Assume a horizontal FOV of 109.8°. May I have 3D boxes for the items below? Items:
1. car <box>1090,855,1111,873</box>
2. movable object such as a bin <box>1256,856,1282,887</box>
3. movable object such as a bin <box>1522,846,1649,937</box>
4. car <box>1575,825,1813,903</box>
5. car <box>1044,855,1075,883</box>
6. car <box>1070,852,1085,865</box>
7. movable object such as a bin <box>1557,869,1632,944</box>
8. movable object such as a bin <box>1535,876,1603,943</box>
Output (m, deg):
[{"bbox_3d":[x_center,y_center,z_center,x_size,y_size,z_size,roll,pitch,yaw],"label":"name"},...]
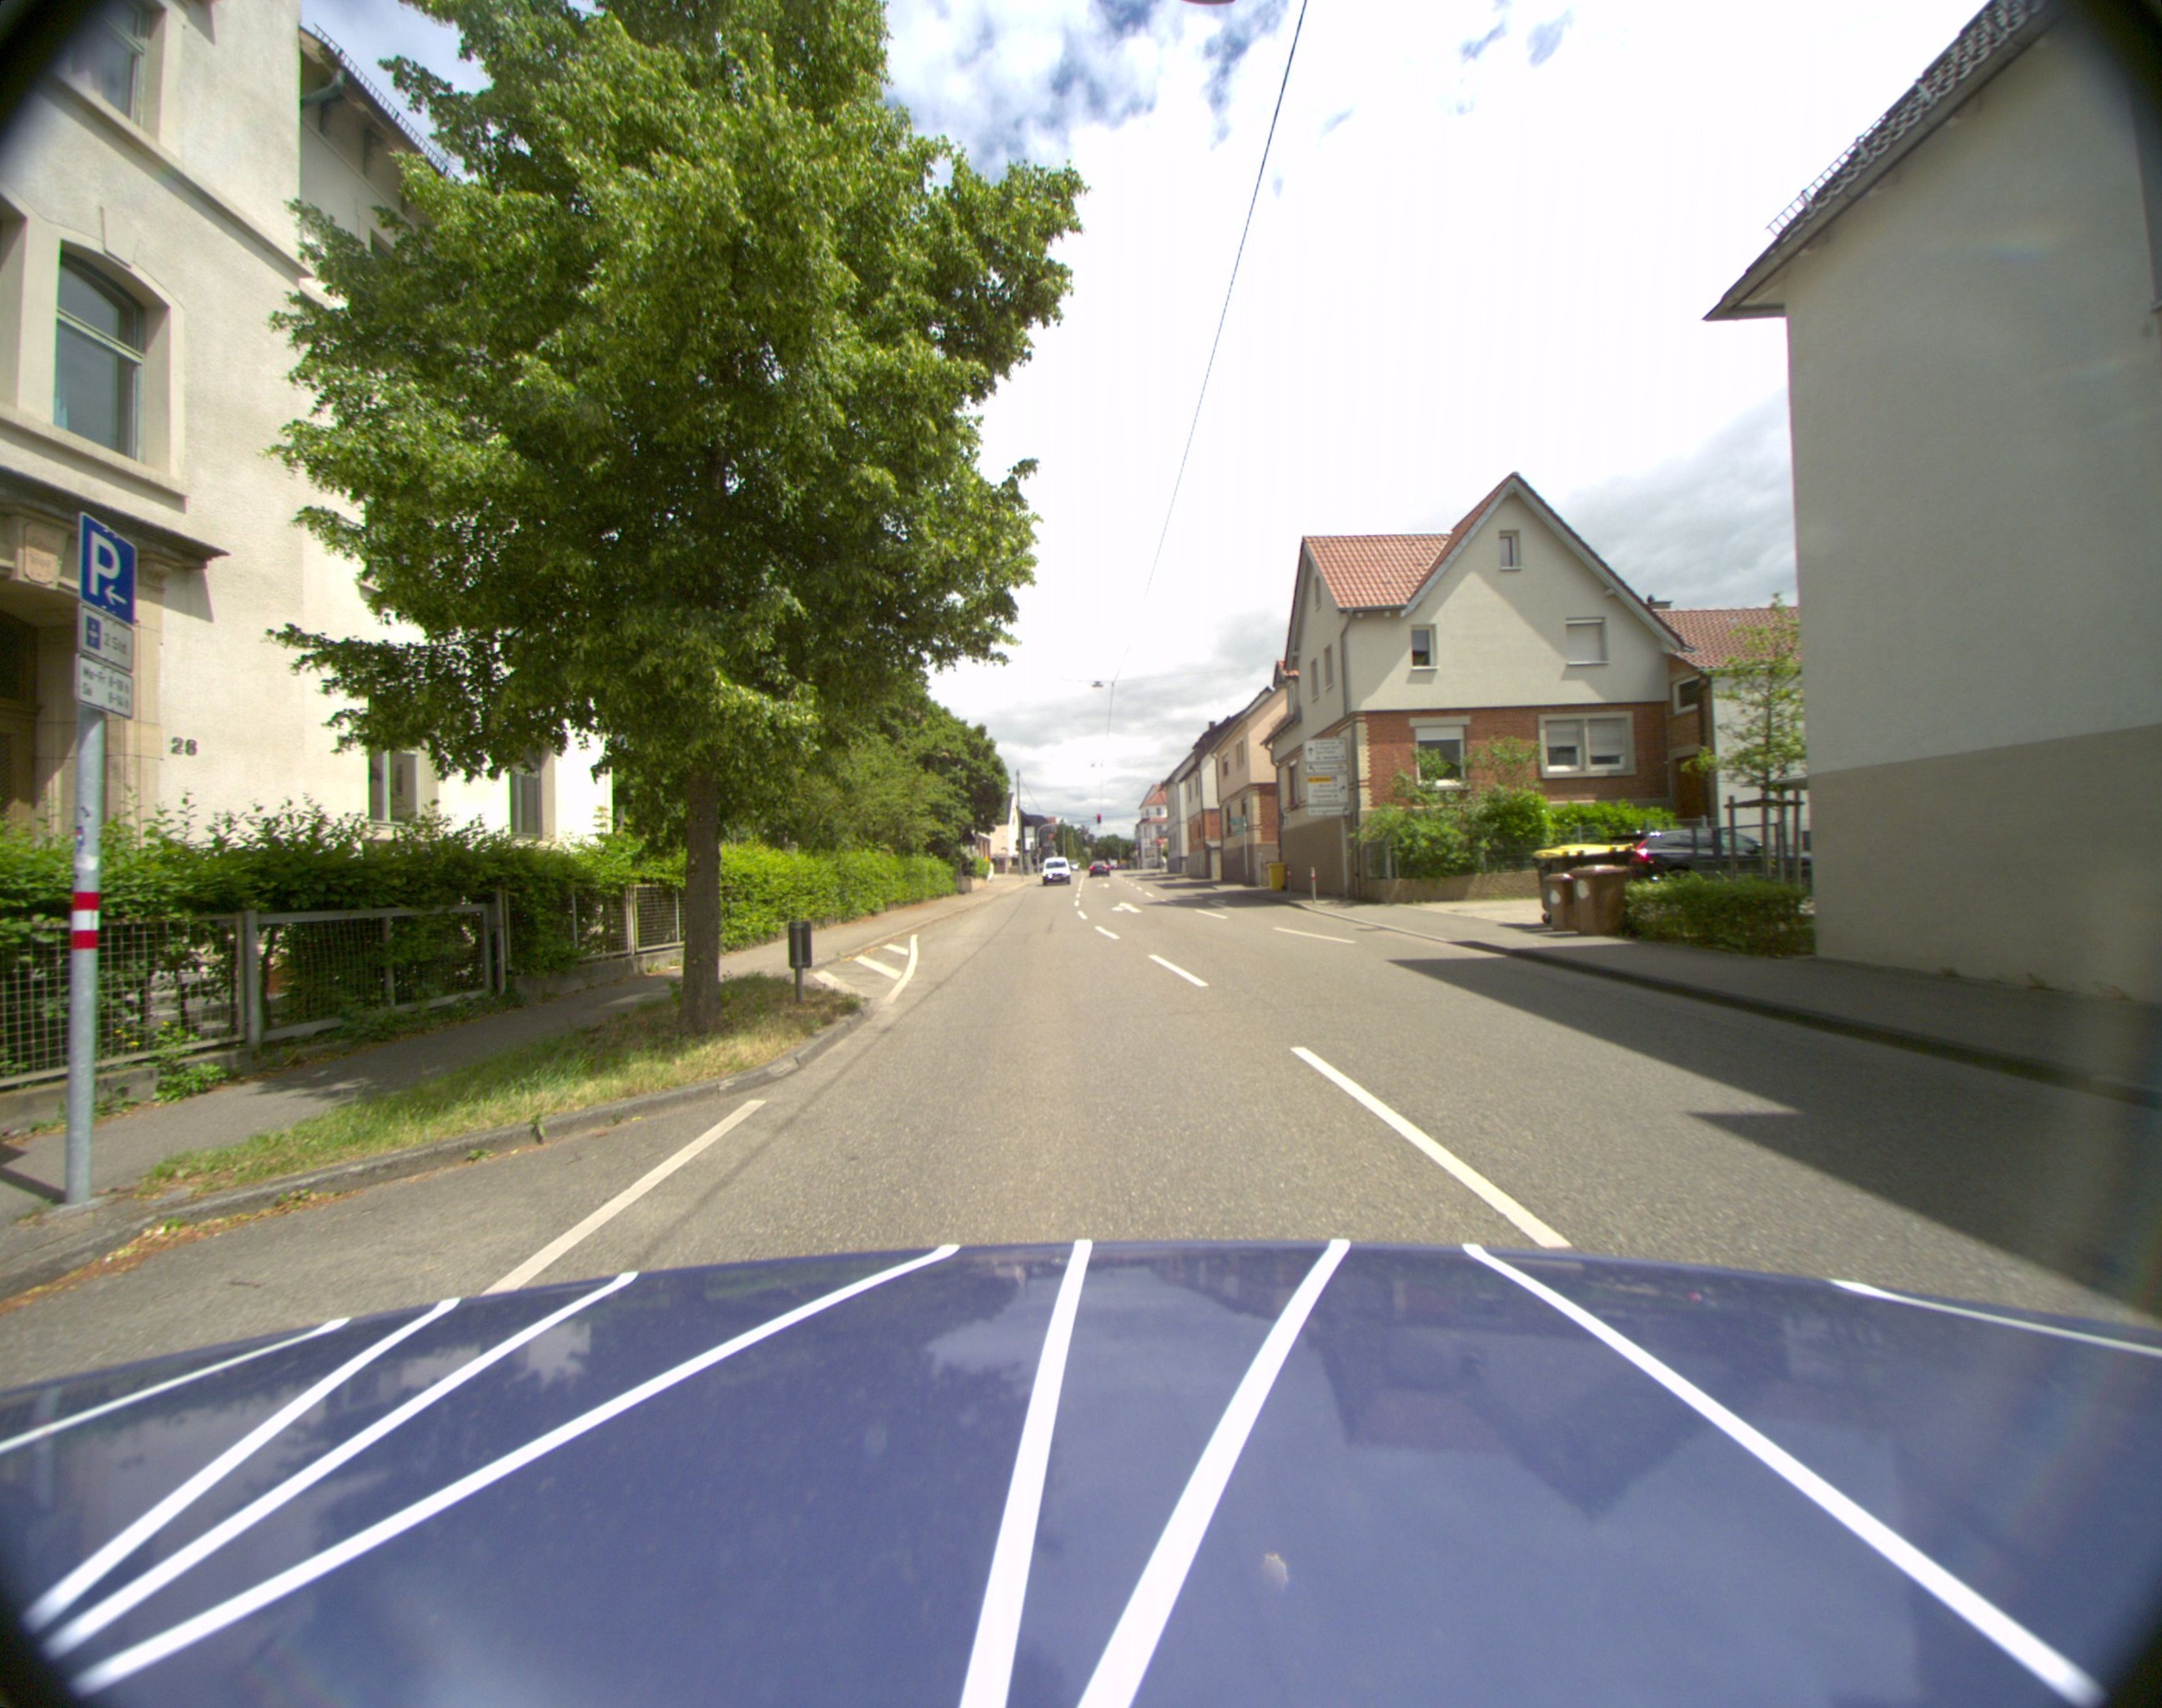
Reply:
[{"bbox_3d":[1.803,0.951,70.143,1.795,1.477,4.001,-3,-1,1],"label":"car"},{"bbox_3d":[7.270,0.677,29.416,0.766,1.155,0.802,-3,0,-3],"label":"movable object such as a bin"},{"bbox_3d":[8.560,0.613,12.968,1.338,1.437,1.170,-2,0,-4],"label":"movable object such as a bin"},{"bbox_3d":[14.316,0.226,17.931,3.997,1.565,2.001,-3,0,-1],"label":"car"},{"bbox_3d":[-1.412,0.932,50.657,1.893,1.718,4.293,-2,0,-1],"label":"car"},{"bbox_3d":[-0.434,0.604,97.293,1.795,1.477,4.001,-3,-1,1],"label":"car"},{"bbox_3d":[7.741,0.781,11.476,0.642,1.069,0.660,-2,0,-3],"label":"movable object such as a bin"},{"bbox_3d":[7.831,0.878,12.208,0.642,0.994,0.657,-2,0,-1],"label":"movable object such as a bin"}]
